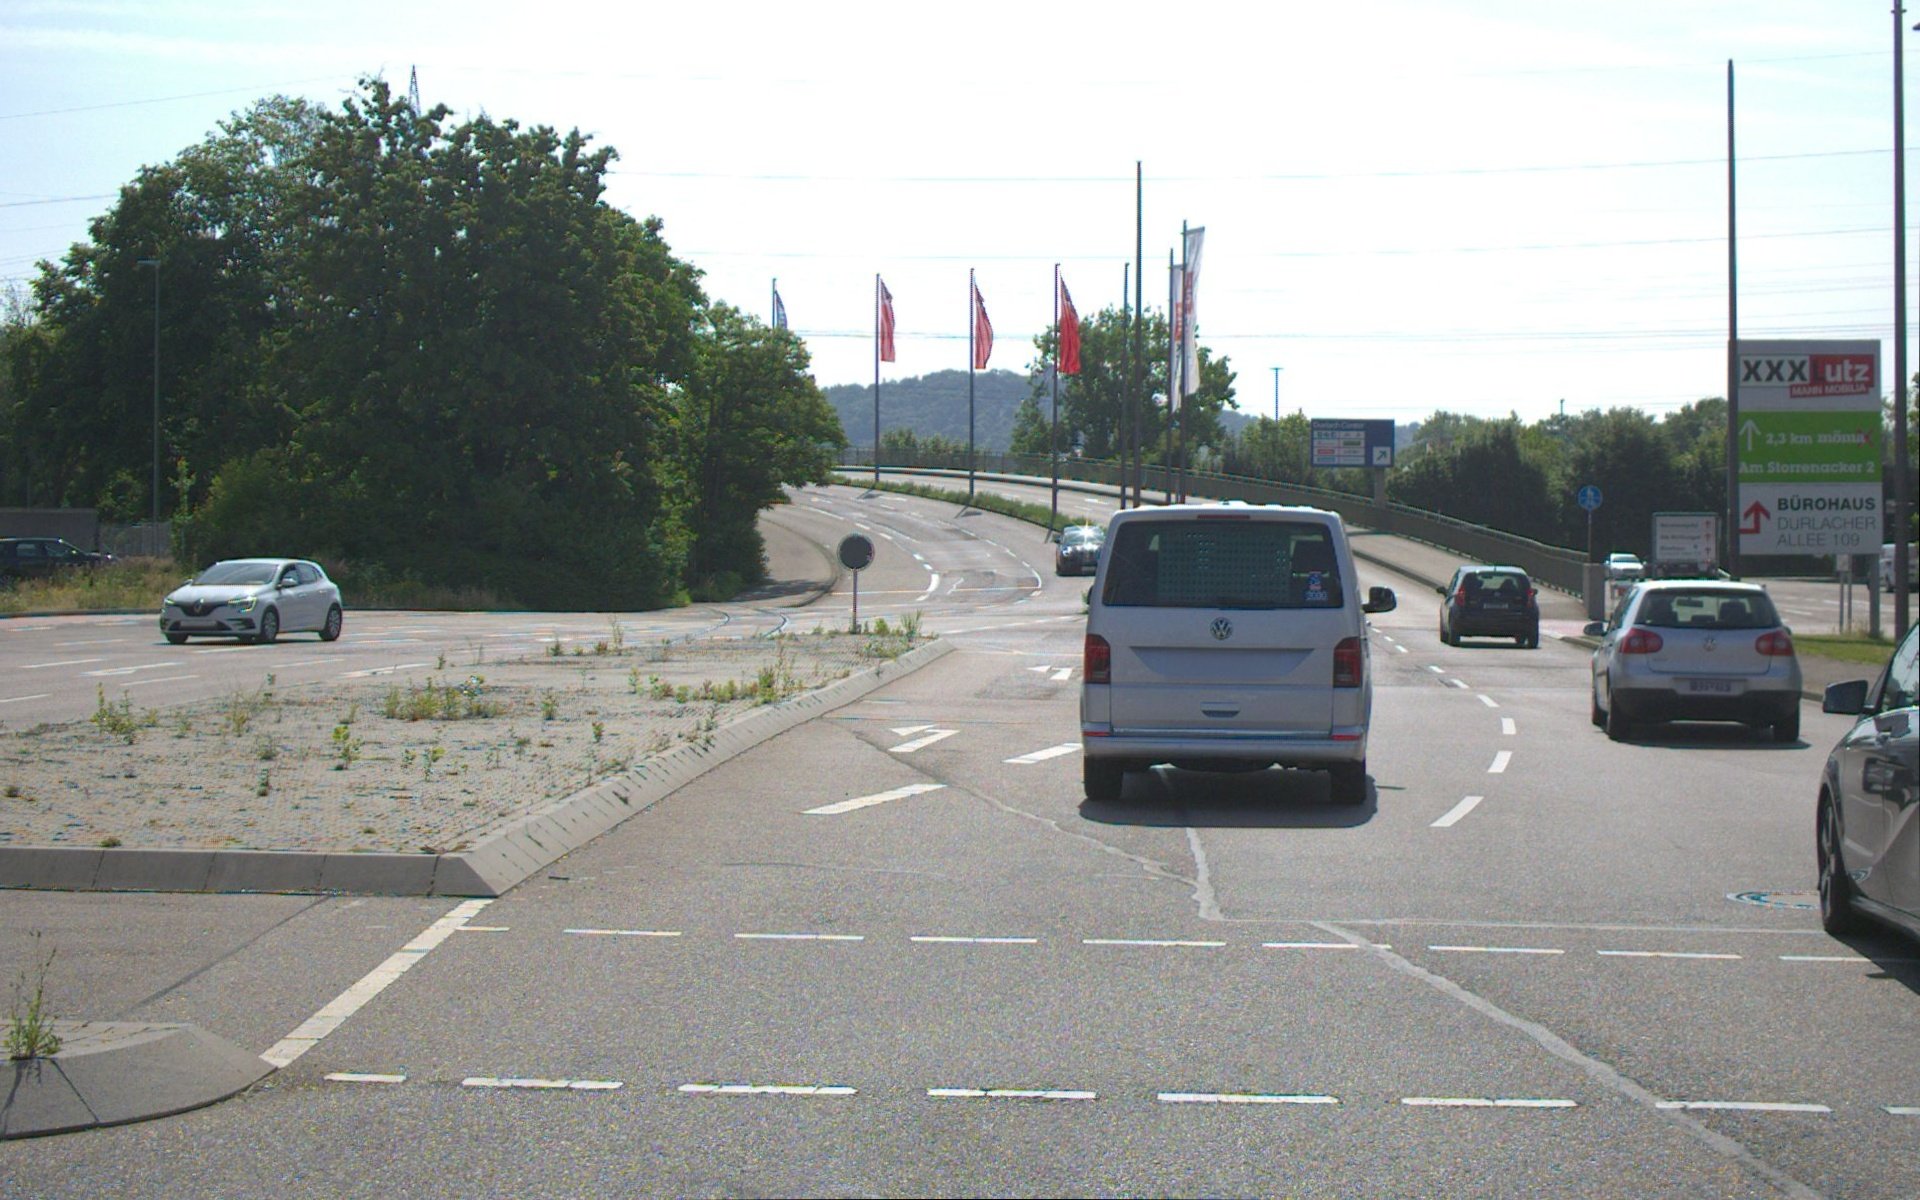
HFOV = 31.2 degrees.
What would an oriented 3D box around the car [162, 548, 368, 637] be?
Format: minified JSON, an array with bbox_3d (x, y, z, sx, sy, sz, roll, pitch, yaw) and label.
[{"bbox_3d":[-11.904,-0.111,59.144,1.783,1.455,4.330,0,0,14],"label":"car"}]

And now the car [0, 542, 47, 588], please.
[{"bbox_3d":[-30.751,-1.096,107.529,4.098,1.415,1.729,1,0,-19],"label":"car"}]

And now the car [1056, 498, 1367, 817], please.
[{"bbox_3d":[1.772,0.316,23.528,1.917,1.968,4.296,1,1,6],"label":"car"}]

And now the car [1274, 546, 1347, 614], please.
[{"bbox_3d":[8.076,-0.474,79.385,1.531,1.475,3.247,2,1,4],"label":"car"}]

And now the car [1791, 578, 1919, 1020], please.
[{"bbox_3d":[4.374,0.708,13.114,1.774,1.534,4.137,2,1,6],"label":"car"}]

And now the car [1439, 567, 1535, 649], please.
[{"bbox_3d":[10.066,0.129,65.821,1.531,1.475,3.595,2,1,5],"label":"car"}]

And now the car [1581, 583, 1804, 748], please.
[{"bbox_3d":[6.893,0.573,32.653,1.667,1.409,3.681,1,1,6],"label":"car"}]

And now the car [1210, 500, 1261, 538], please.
[{"bbox_3d":[11.385,-3.333,142.220,1.530,1.475,3.426,2,1,-5],"label":"car"}]

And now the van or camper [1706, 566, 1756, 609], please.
[{"bbox_3d":[42.033,-0.681,187.396,2.100,2.171,5.433,3,0,18],"label":"van or camper"}]

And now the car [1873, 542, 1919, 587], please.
[{"bbox_3d":[38.705,-1.468,140.922,1.673,1.745,4.093,1,2,4],"label":"car"}]

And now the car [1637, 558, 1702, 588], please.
[{"bbox_3d":[36.598,-1.409,177.424,1.993,1.415,4.001,3,0,-9],"label":"car"}]

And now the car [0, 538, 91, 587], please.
[{"bbox_3d":[-28.102,-1.117,102.578,4.098,1.415,1.729,1,0,-19],"label":"car"}]

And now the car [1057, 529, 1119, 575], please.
[{"bbox_3d":[4.633,-1.745,123.599,1.916,1.601,4.271,1,1,6],"label":"car"}]

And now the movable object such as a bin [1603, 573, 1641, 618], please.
[{"bbox_3d":[16.781,-0.120,87.216,0.810,1.109,1.182,1,1,5],"label":"movable object such as a bin"}]

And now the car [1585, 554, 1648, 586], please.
[{"bbox_3d":[33.882,-1.562,177.403,1.883,1.514,4.001,3,0,-9],"label":"car"}]
